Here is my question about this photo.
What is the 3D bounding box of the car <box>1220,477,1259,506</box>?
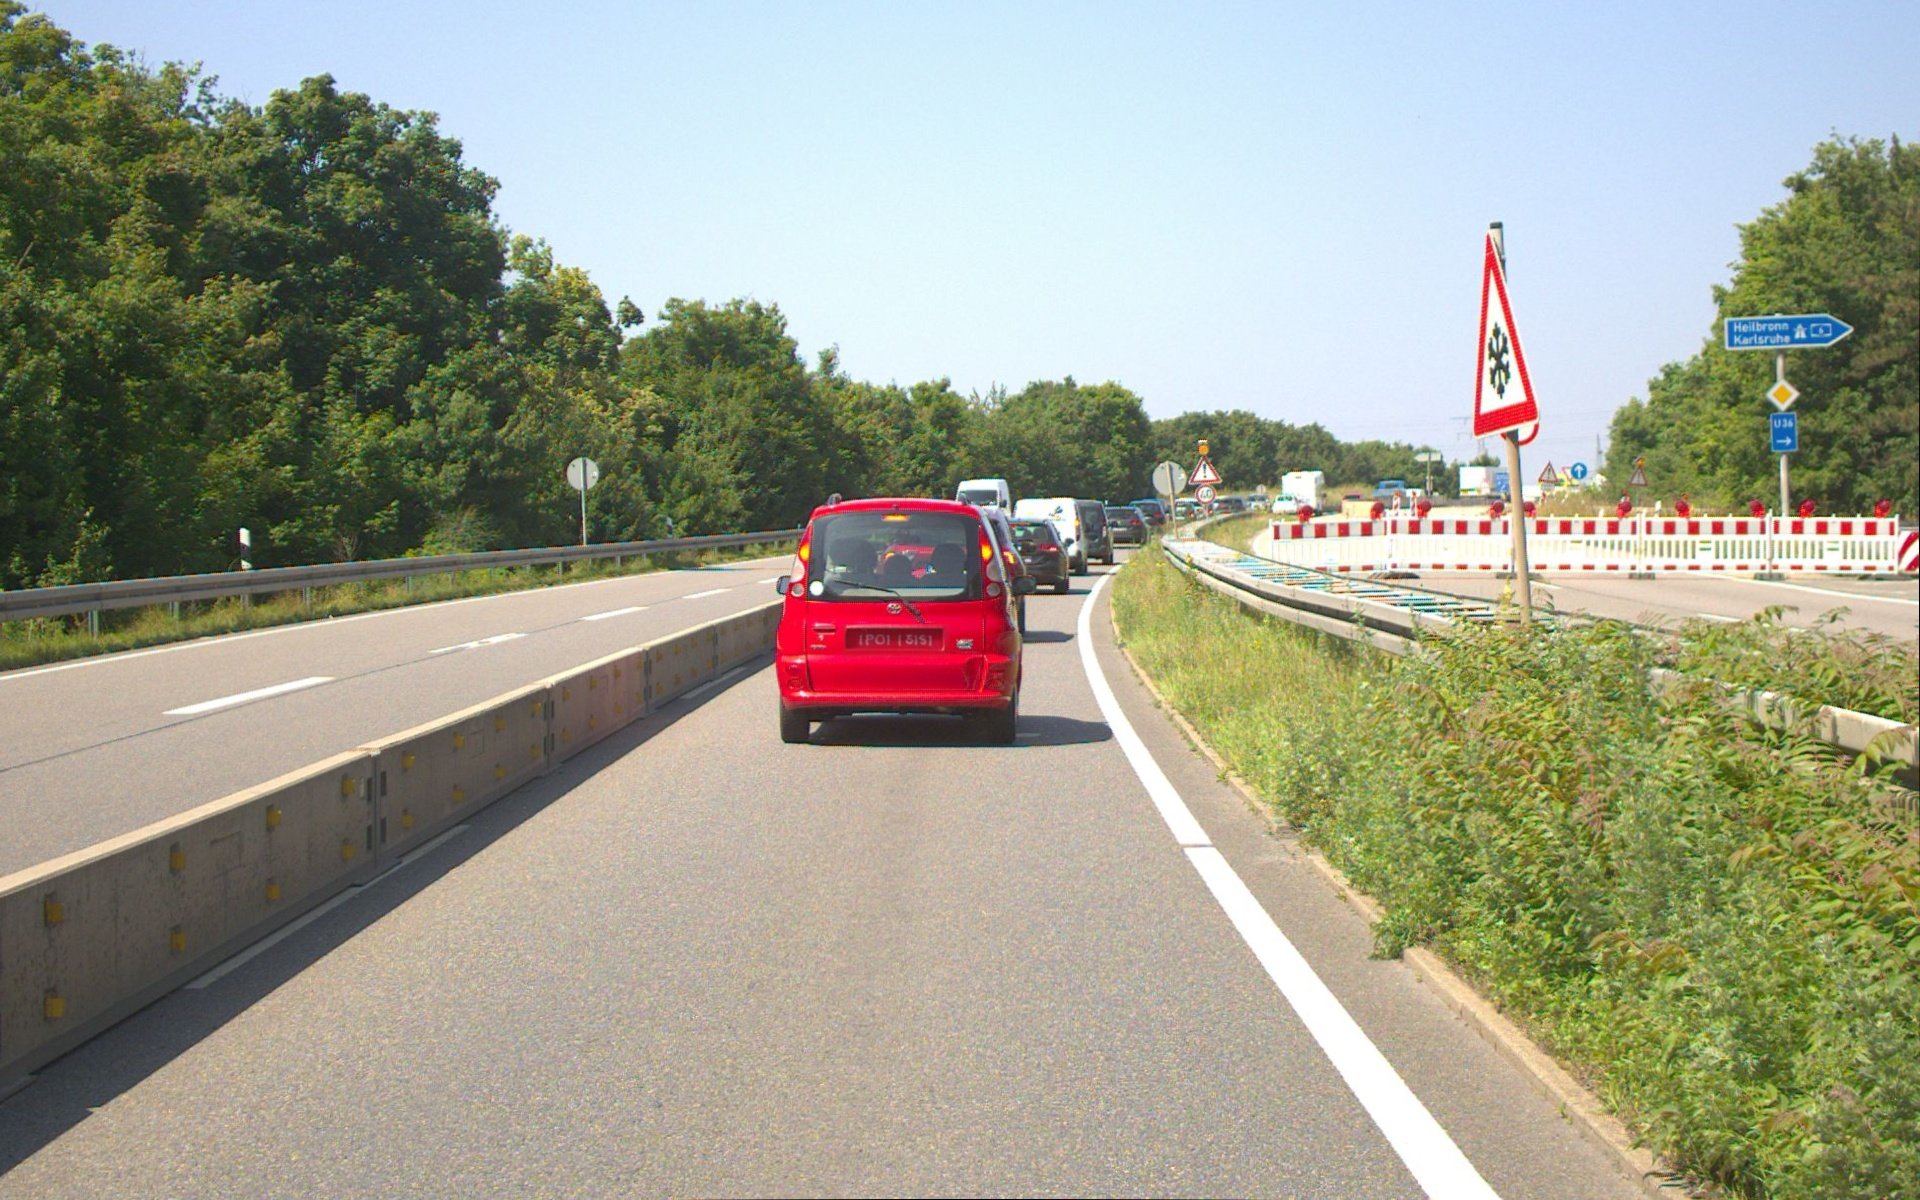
[{"bbox_3d":[15.952,-6.193,196.266,1.994,1.546,3.999,-2,1,7],"label":"car"}]

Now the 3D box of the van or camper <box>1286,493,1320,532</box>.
[{"bbox_3d":[23.961,-6.133,240.360,2.328,2.697,4.593,-1,1,5],"label":"van or camper"}]

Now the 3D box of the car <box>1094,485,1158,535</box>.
[{"bbox_3d":[5.974,-3.216,123.151,1.994,1.777,3.999,0,1,7],"label":"car"}]

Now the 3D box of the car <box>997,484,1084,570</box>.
[{"bbox_3d":[1.916,-1.764,83.024,1.993,1.997,4.000,0,1,0],"label":"car"}]

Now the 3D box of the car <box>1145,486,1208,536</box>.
[{"bbox_3d":[7.788,-3.212,123.965,1.993,1.777,4.000,0,1,0],"label":"car"}]

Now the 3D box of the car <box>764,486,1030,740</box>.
[{"bbox_3d":[-0.437,0.037,24.695,1.751,1.667,4.000,0,1,-1],"label":"car"}]

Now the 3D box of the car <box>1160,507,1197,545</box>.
[{"bbox_3d":[10.181,-3.445,159.922,1.502,1.730,3.169,0,1,8],"label":"car"}]

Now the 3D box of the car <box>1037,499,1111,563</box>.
[{"bbox_3d":[3.148,-1.922,95.483,1.993,1.744,4.000,0,1,1],"label":"car"}]

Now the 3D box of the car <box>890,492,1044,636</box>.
[{"bbox_3d":[0.083,-0.480,43.378,1.830,1.716,4.000,-1,1,0],"label":"car"}]

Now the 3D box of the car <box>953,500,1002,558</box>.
[{"bbox_3d":[0.789,-3.092,149.070,2.061,2.476,5.560,0,1,1],"label":"car"}]

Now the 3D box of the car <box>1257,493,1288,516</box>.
[{"bbox_3d":[20.891,-6.365,229.527,1.994,1.481,3.999,-1,1,6],"label":"car"}]

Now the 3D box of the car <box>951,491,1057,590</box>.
[{"bbox_3d":[0.882,-1.165,66.615,1.993,1.831,4.000,0,1,2],"label":"car"}]
